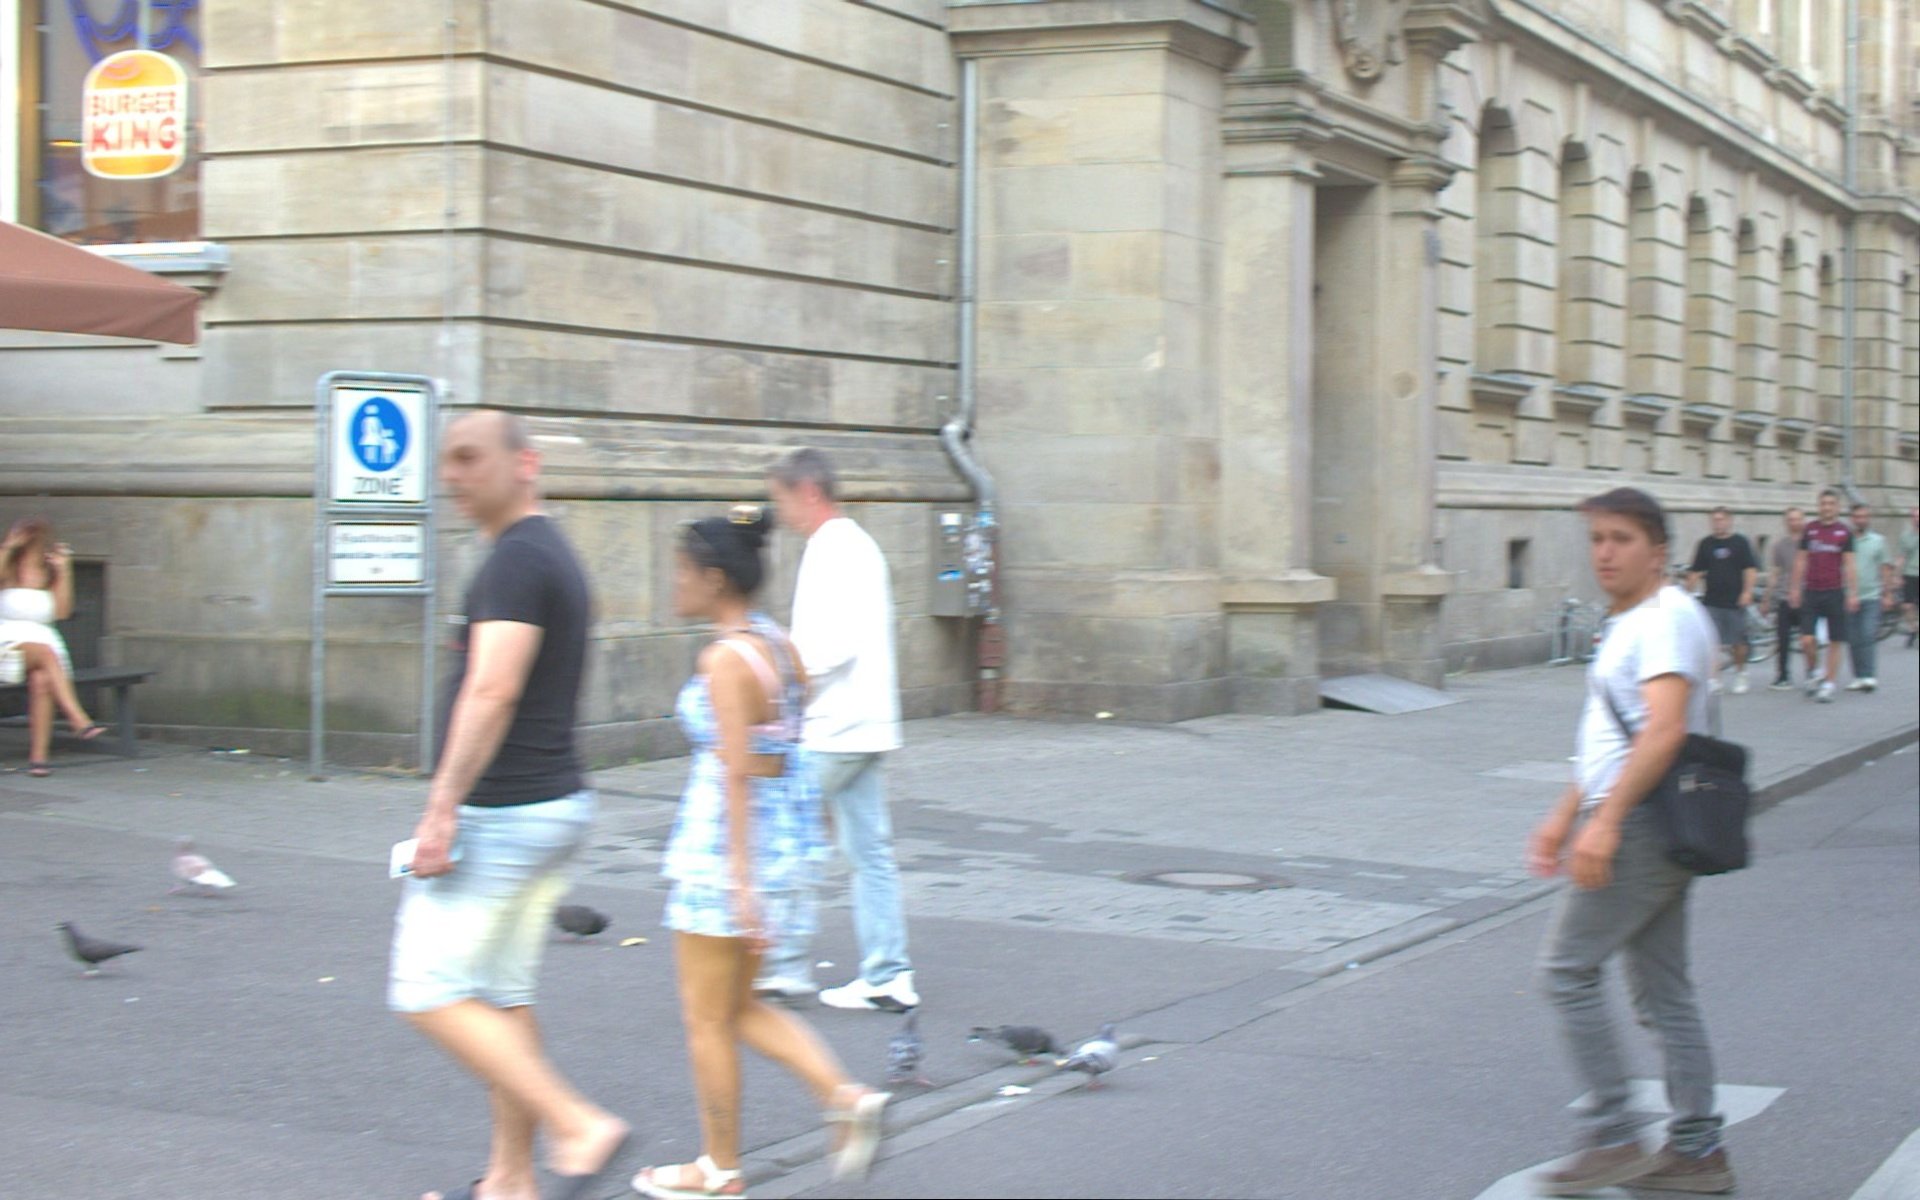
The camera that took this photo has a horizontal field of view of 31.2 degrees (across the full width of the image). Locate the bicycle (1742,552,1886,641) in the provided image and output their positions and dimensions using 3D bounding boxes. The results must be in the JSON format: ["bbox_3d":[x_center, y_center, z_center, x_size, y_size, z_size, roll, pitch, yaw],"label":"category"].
[{"bbox_3d":[10.819,-0.055,43.562,1.681,1.037,0.487,3,2,22],"label":"bicycle"}]

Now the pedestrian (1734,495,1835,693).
[{"bbox_3d":[7.571,-0.063,31.569,0.690,1.746,0.721,4,2,21],"label":"pedestrian"}]

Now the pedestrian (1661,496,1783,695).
[{"bbox_3d":[6.705,-0.048,30.238,0.798,1.669,0.974,4,2,21],"label":"pedestrian"}]

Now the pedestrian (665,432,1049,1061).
[{"bbox_3d":[-0.310,0.420,10.772,0.872,1.833,0.866,4,3,18],"label":"pedestrian"}]

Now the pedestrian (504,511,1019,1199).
[{"bbox_3d":[-0.440,0.603,7.873,0.872,1.576,0.805,2,0,23],"label":"pedestrian"}]

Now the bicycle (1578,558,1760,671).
[{"bbox_3d":[7.119,0.133,34.539,1.682,1.037,0.486,3,2,29],"label":"bicycle"}]

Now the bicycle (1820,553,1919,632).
[{"bbox_3d":[12.957,-0.102,48.149,1.681,1.037,0.487,3,2,22],"label":"bicycle"}]

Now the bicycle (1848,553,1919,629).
[{"bbox_3d":[13.656,-0.112,49.297,1.681,1.037,0.487,3,2,22],"label":"bicycle"}]

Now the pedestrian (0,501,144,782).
[{"bbox_3d":[-4.549,0.186,17.005,0.663,1.304,0.773,-1,6,-42],"label":"pedestrian"}]

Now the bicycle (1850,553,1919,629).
[{"bbox_3d":[13.800,-0.118,49.740,1.681,1.037,0.487,3,2,22],"label":"bicycle"}]

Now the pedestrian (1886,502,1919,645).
[{"bbox_3d":[11.986,-0.319,42.747,0.719,1.746,0.668,4,2,21],"label":"pedestrian"}]

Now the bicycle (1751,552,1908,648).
[{"bbox_3d":[10.152,-0.009,40.158,1.681,1.037,0.487,3,2,22],"label":"bicycle"}]

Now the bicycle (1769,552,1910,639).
[{"bbox_3d":[11.428,-0.065,44.680,1.681,1.037,0.487,3,2,22],"label":"bicycle"}]

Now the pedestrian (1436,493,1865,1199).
[{"bbox_3d":[1.615,0.582,7.978,0.870,1.641,0.732,1,0,19],"label":"pedestrian"}]

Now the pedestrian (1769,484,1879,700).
[{"bbox_3d":[7.524,-0.078,29.917,0.698,1.805,0.974,4,2,21],"label":"pedestrian"}]

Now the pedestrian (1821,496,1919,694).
[{"bbox_3d":[8.452,-0.056,31.700,0.787,1.746,0.721,4,2,21],"label":"pedestrian"}]

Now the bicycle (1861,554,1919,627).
[{"bbox_3d":[14.269,-0.131,50.937,1.681,1.037,0.487,3,2,22],"label":"bicycle"}]

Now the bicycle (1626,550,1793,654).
[{"bbox_3d":[8.102,0.014,37.196,1.680,1.037,0.487,2,2,7],"label":"bicycle"}]

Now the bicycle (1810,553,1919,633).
[{"bbox_3d":[12.723,-0.099,47.755,1.681,1.037,0.487,3,2,22],"label":"bicycle"}]

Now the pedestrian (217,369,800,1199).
[{"bbox_3d":[-0.923,0.465,7.138,0.872,1.833,0.805,2,0,23],"label":"pedestrian"}]
